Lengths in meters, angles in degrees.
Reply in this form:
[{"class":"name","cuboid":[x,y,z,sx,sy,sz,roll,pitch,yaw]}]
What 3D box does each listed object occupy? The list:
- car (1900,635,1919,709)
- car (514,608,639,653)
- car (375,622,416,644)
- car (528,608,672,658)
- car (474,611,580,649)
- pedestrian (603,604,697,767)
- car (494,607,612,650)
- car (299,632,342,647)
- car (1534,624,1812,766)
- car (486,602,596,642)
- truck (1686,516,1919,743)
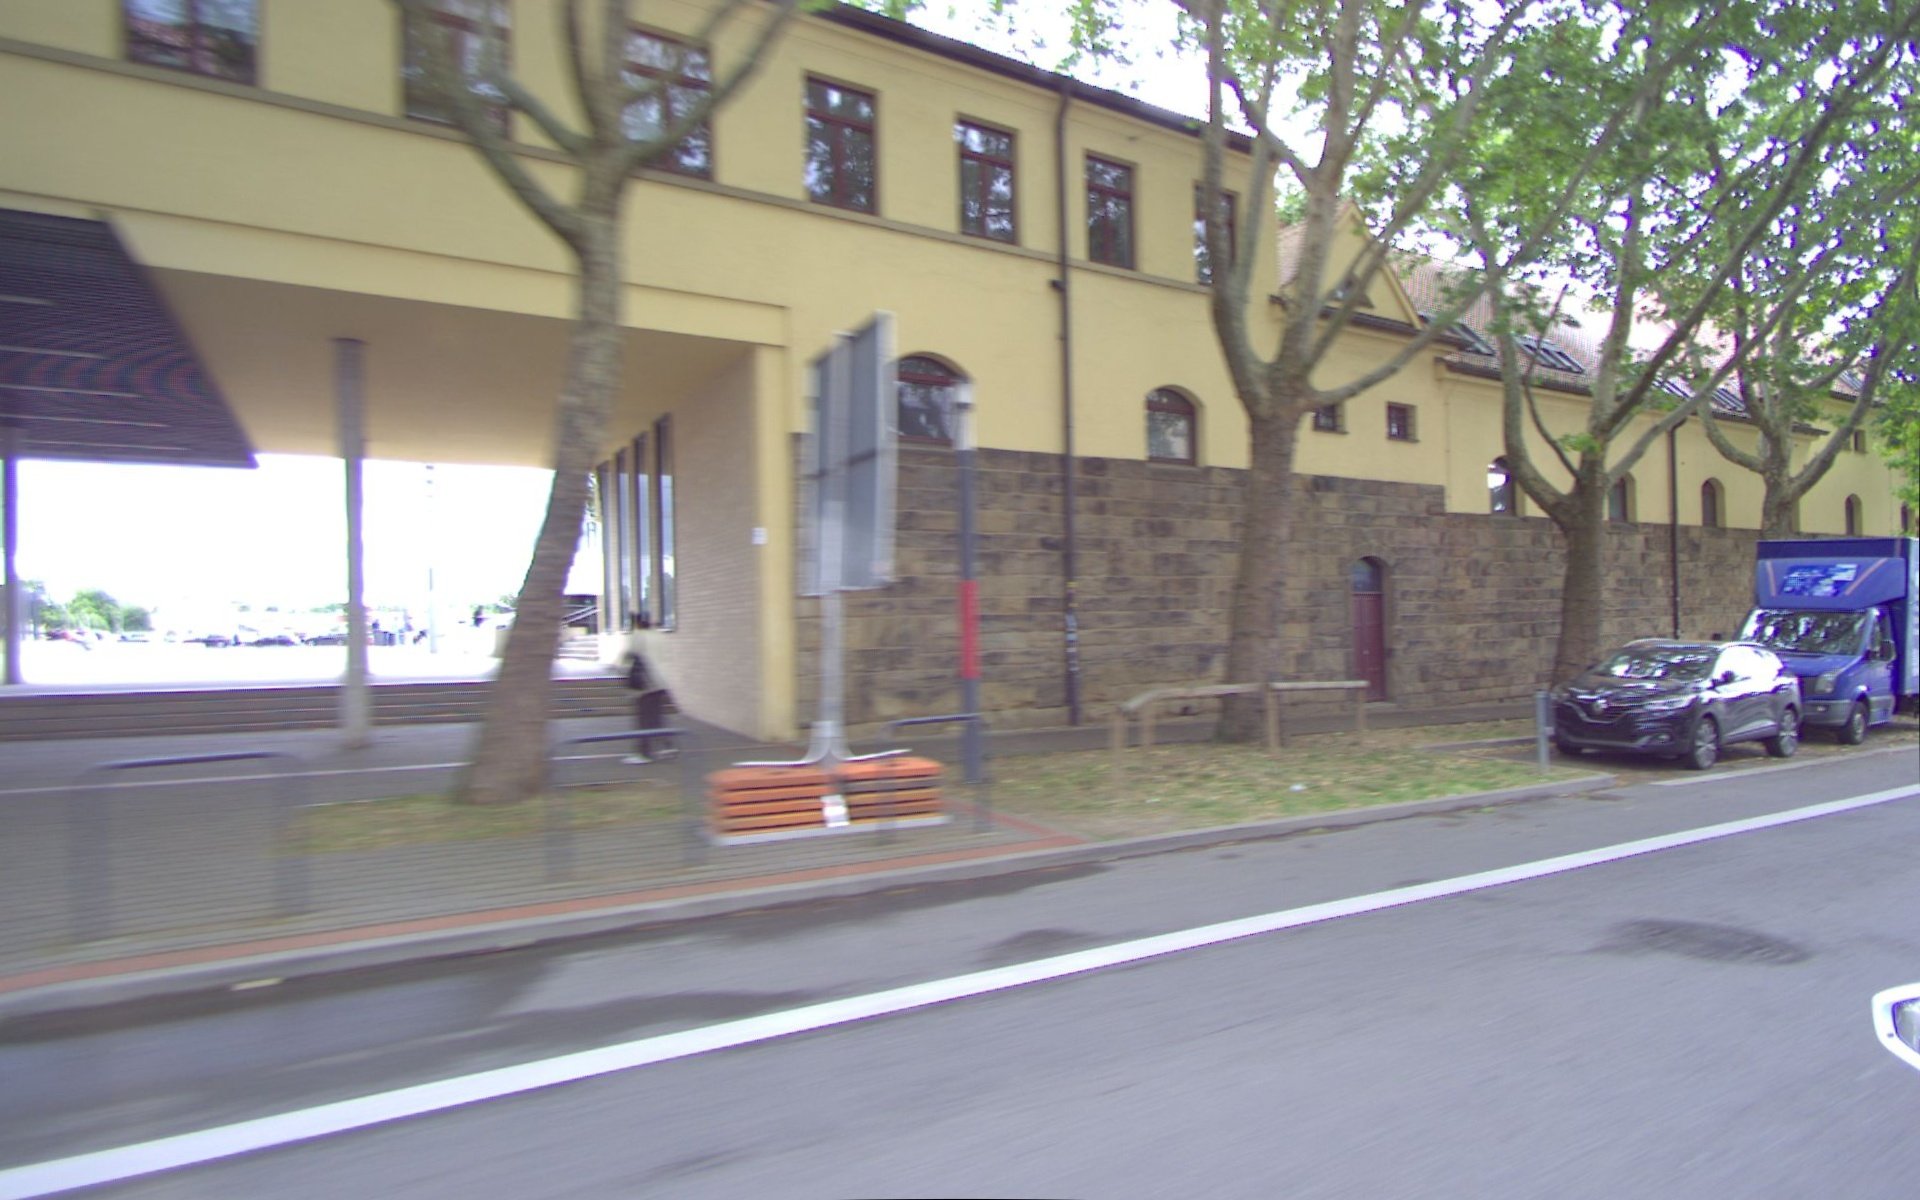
[{"class":"car","cuboid":[22.377,1.626,22.180,2.954,1.594,1.475,2,-1,-27]},{"class":"car","cuboid":[-13.256,1.043,34.801,3.776,1.499,1.690,1,-1,-34]},{"class":"car","cuboid":[-65.780,3.877,117.125,3.946,2.406,1.988,2,-1,-25]},{"class":"car","cuboid":[-11.633,1.052,32.541,3.964,1.499,1.978,1,-1,-38]},{"class":"car","cuboid":[-17.984,1.251,41.764,3.776,1.499,1.690,1,-1,-34]},{"class":"pedestrian","cuboid":[-3.459,0.913,11.168,0.913,1.710,0.860,1,0,-21]},{"class":"car","cuboid":[-15.010,1.032,37.067,3.776,1.499,1.690,1,-1,-34]},{"class":"car","cuboid":[-70.471,4.347,110.708,3.956,1.506,1.982,2,-1,-32]},{"class":"car","cuboid":[10.124,1.251,14.186,4.205,1.711,1.722,2,-1,-32]},{"class":"car","cuboid":[-16.506,0.860,39.622,3.776,1.499,1.690,1,-1,-34]},{"class":"truck","cuboid":[16.073,0.535,18.183,7.167,3.462,2.203,1,0,-32]}]
